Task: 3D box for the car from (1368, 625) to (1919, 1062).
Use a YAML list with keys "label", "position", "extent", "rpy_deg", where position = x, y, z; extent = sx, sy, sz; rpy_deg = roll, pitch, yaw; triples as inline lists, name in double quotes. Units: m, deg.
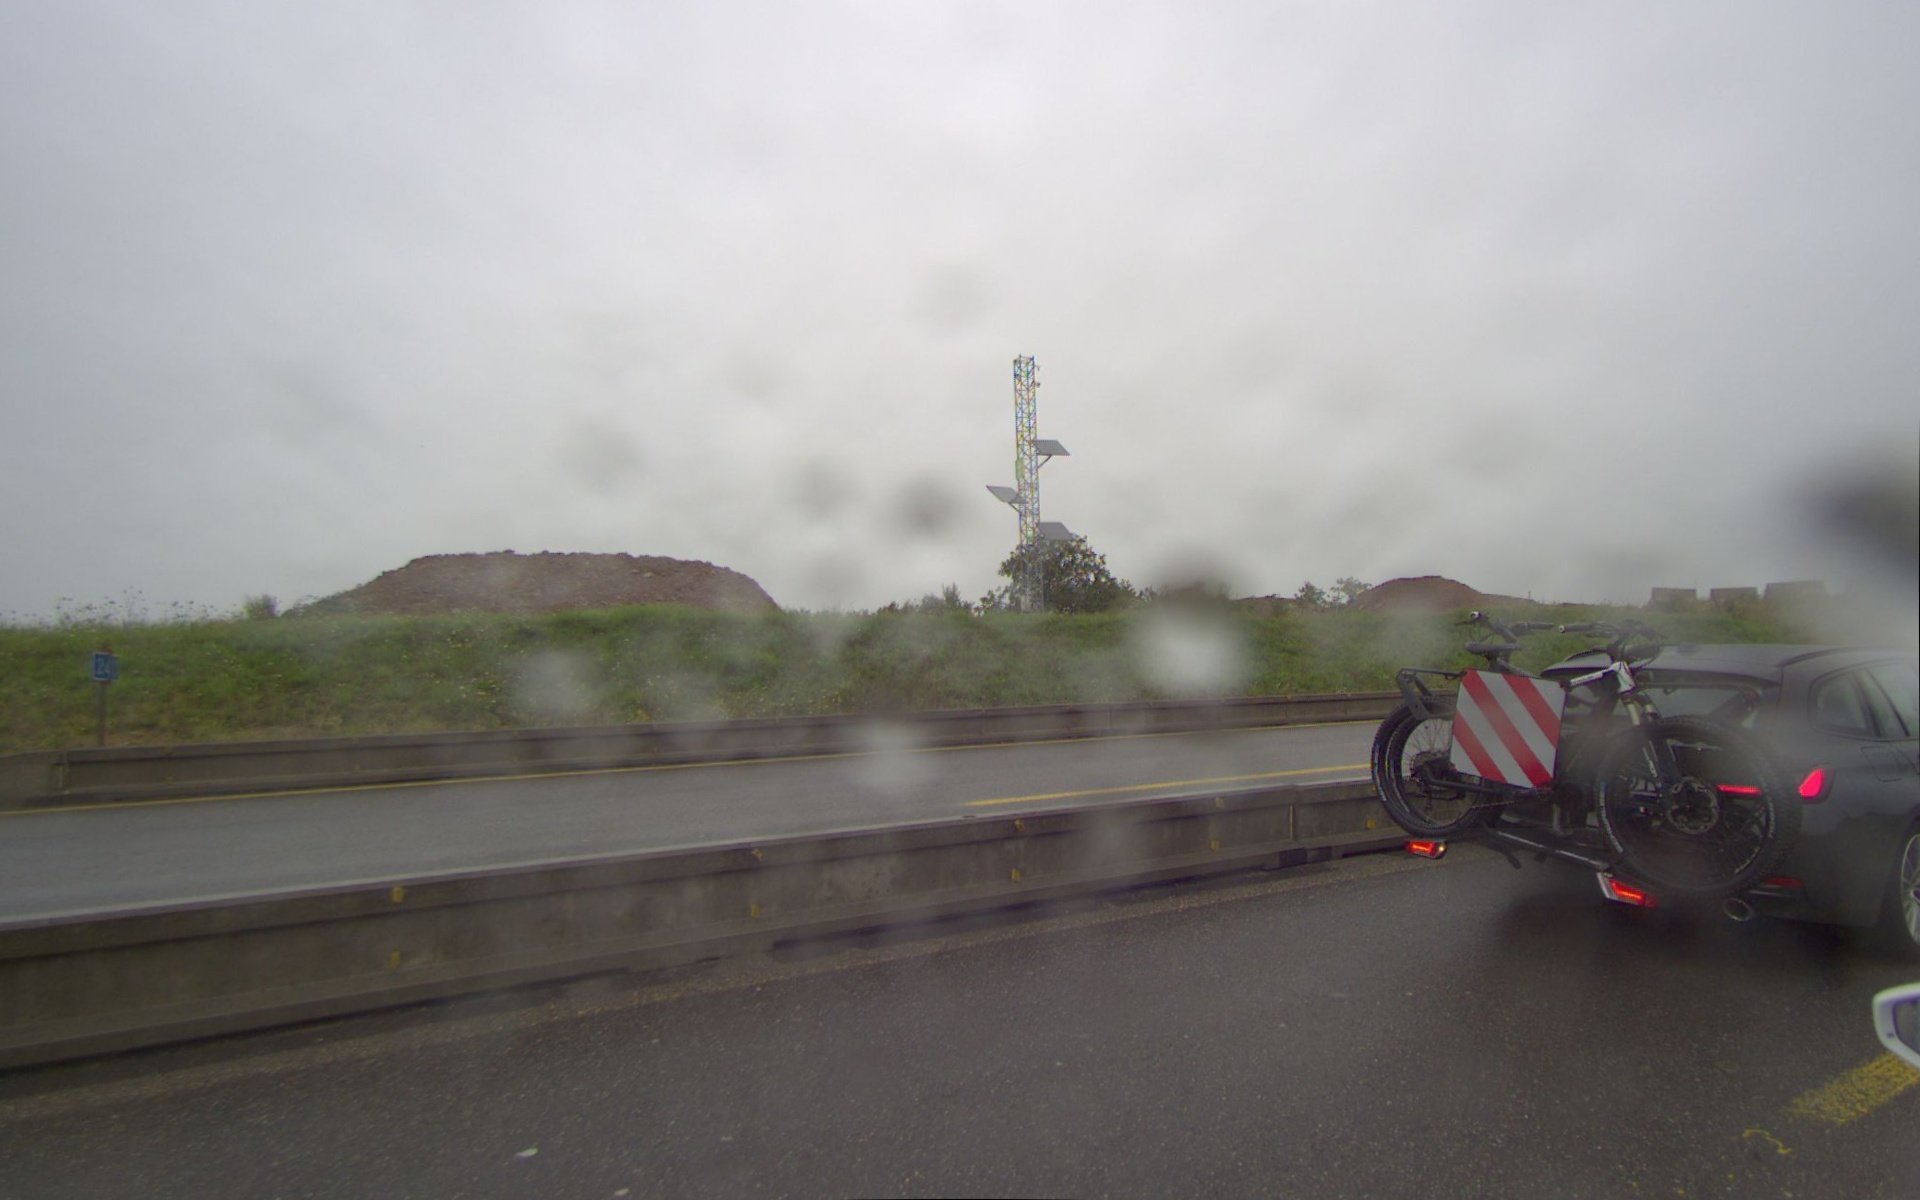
- label: "car"
  position: [4.930, 0.942, 5.830]
  extent: [5.562, 1.482, 1.727]
  rpy_deg: [0, -1, -30]
